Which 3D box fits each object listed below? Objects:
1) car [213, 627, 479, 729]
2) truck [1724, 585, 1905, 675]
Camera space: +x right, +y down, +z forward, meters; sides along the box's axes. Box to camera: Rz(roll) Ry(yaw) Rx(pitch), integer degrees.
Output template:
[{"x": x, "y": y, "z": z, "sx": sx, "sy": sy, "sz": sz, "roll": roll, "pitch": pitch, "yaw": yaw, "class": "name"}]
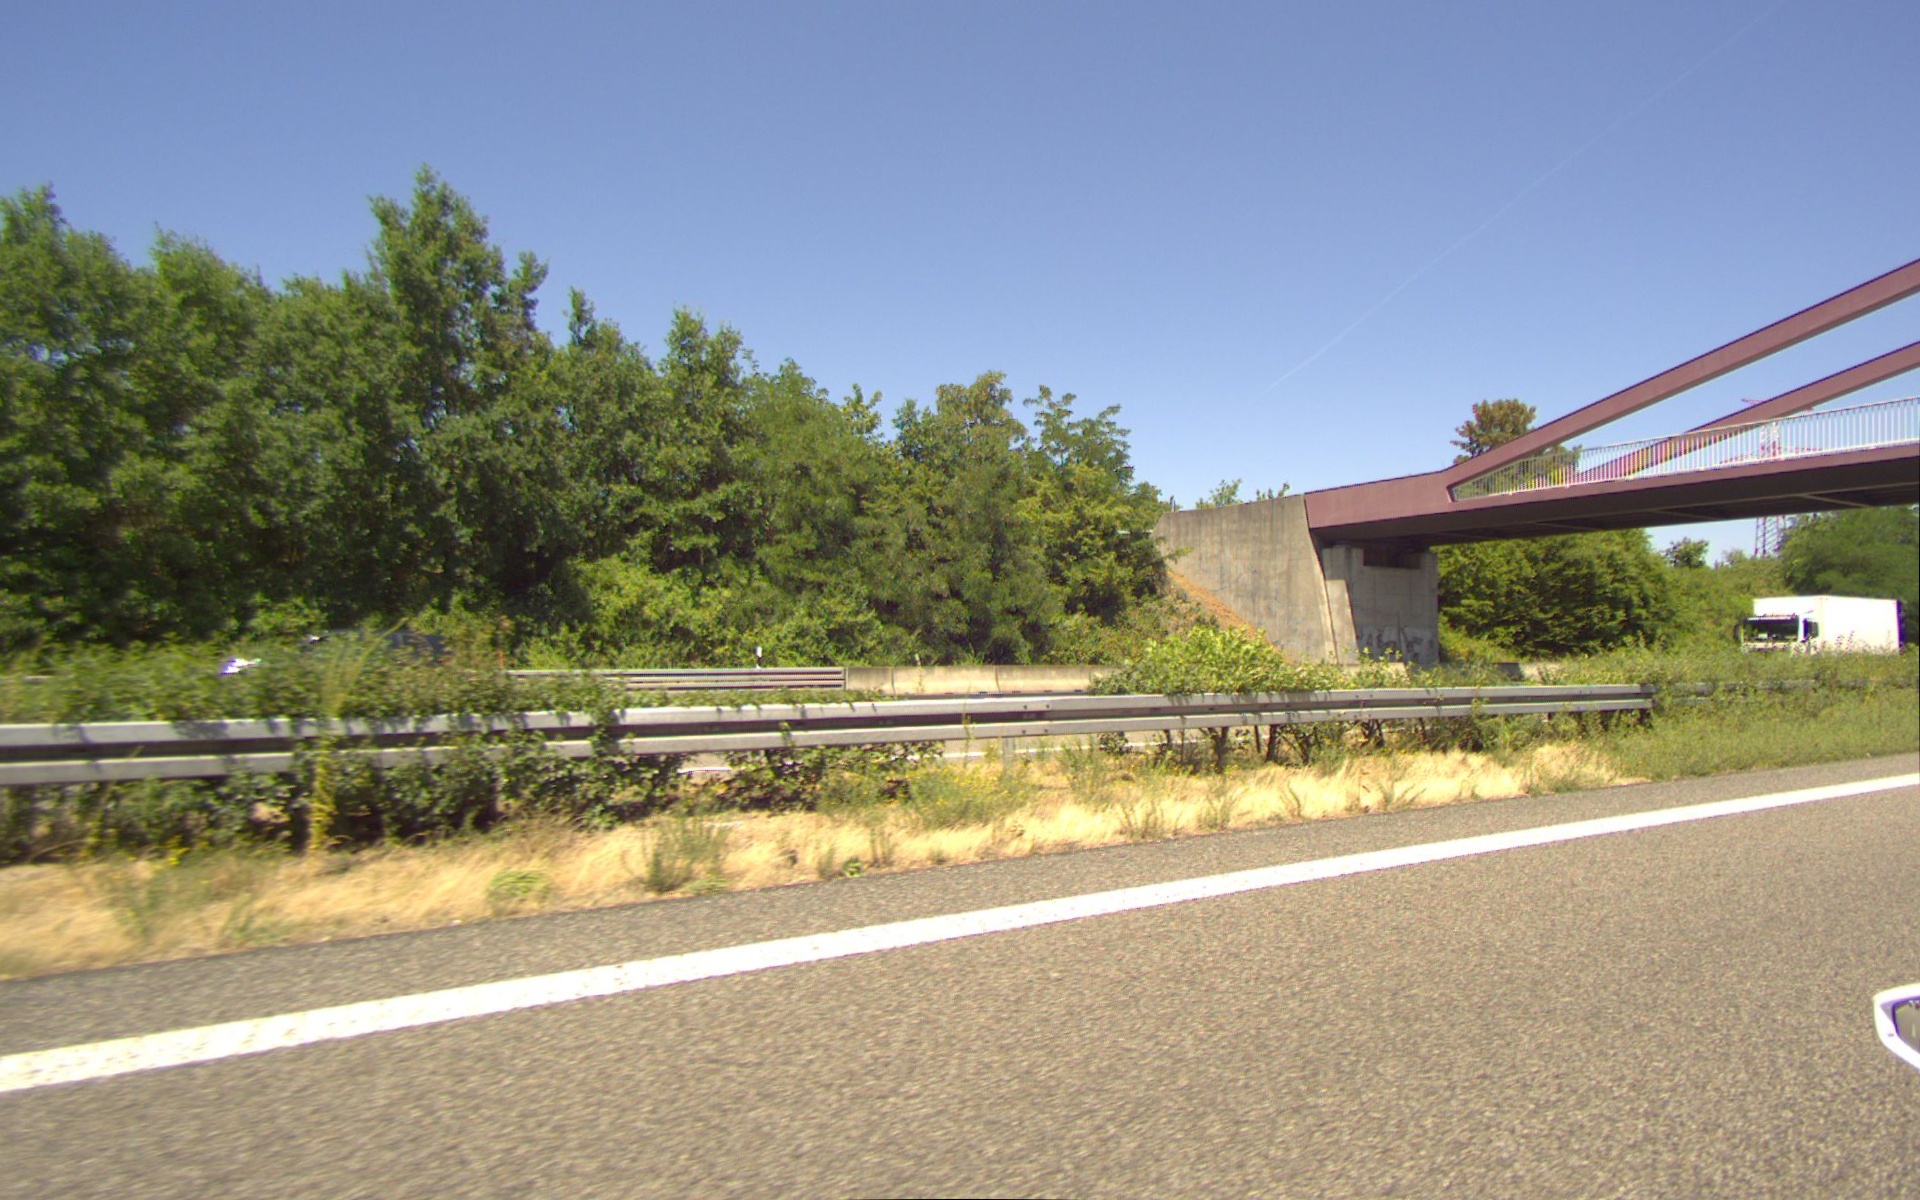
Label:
[{"x": -12.044, "y": 1.490, "z": 20.045, "sx": 4.348, "sy": 1.792, "sz": 1.693, "roll": 1, "pitch": 0, "yaw": -28, "class": "car"}, {"x": 37.577, "y": 1.370, "z": 44.061, "sx": 10.068, "sy": 3.583, "sz": 2.796, "roll": 1, "pitch": -3, "yaw": -30, "class": "truck"}]
